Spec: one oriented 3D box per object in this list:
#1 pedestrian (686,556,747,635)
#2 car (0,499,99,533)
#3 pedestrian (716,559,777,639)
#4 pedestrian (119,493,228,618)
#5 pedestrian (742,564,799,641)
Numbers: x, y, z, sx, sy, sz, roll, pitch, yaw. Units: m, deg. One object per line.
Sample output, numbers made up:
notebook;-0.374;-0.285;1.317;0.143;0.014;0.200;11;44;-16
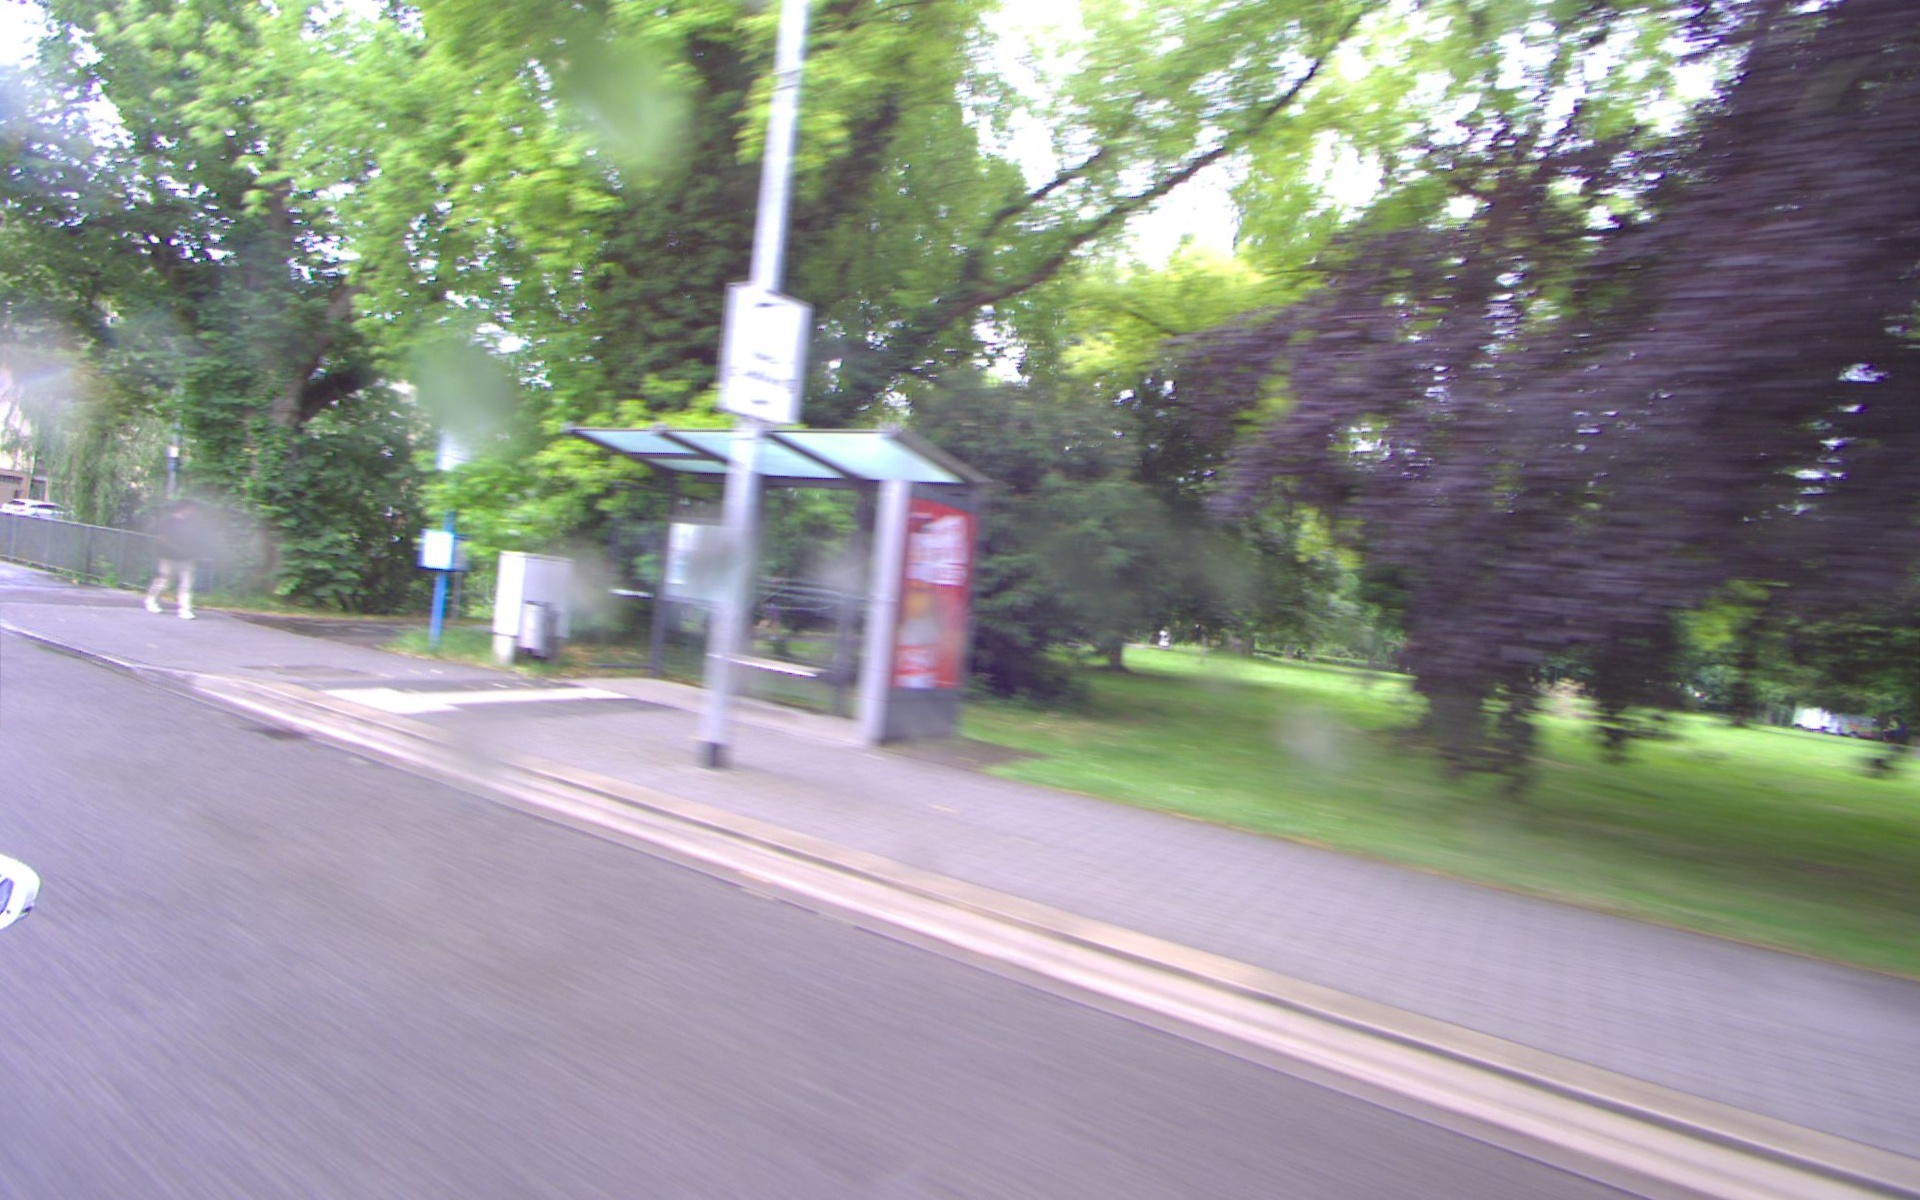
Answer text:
pedestrian;-5.844;-0.095;24.205;0.768;1.774;1.059;6;0;27
car;-54.803;-5.026;60.362;1.782;1.393;4.455;9;0;15
pedestrian;-5.055;-0.019;23.863;0.768;1.774;1.059;6;0;27
pedestrian;-11.506;-0.643;14.719;1.148;1.698;0.848;6;2;31
pedestrian;-4.738;0.075;25.178;0.768;1.774;1.059;6;0;27
